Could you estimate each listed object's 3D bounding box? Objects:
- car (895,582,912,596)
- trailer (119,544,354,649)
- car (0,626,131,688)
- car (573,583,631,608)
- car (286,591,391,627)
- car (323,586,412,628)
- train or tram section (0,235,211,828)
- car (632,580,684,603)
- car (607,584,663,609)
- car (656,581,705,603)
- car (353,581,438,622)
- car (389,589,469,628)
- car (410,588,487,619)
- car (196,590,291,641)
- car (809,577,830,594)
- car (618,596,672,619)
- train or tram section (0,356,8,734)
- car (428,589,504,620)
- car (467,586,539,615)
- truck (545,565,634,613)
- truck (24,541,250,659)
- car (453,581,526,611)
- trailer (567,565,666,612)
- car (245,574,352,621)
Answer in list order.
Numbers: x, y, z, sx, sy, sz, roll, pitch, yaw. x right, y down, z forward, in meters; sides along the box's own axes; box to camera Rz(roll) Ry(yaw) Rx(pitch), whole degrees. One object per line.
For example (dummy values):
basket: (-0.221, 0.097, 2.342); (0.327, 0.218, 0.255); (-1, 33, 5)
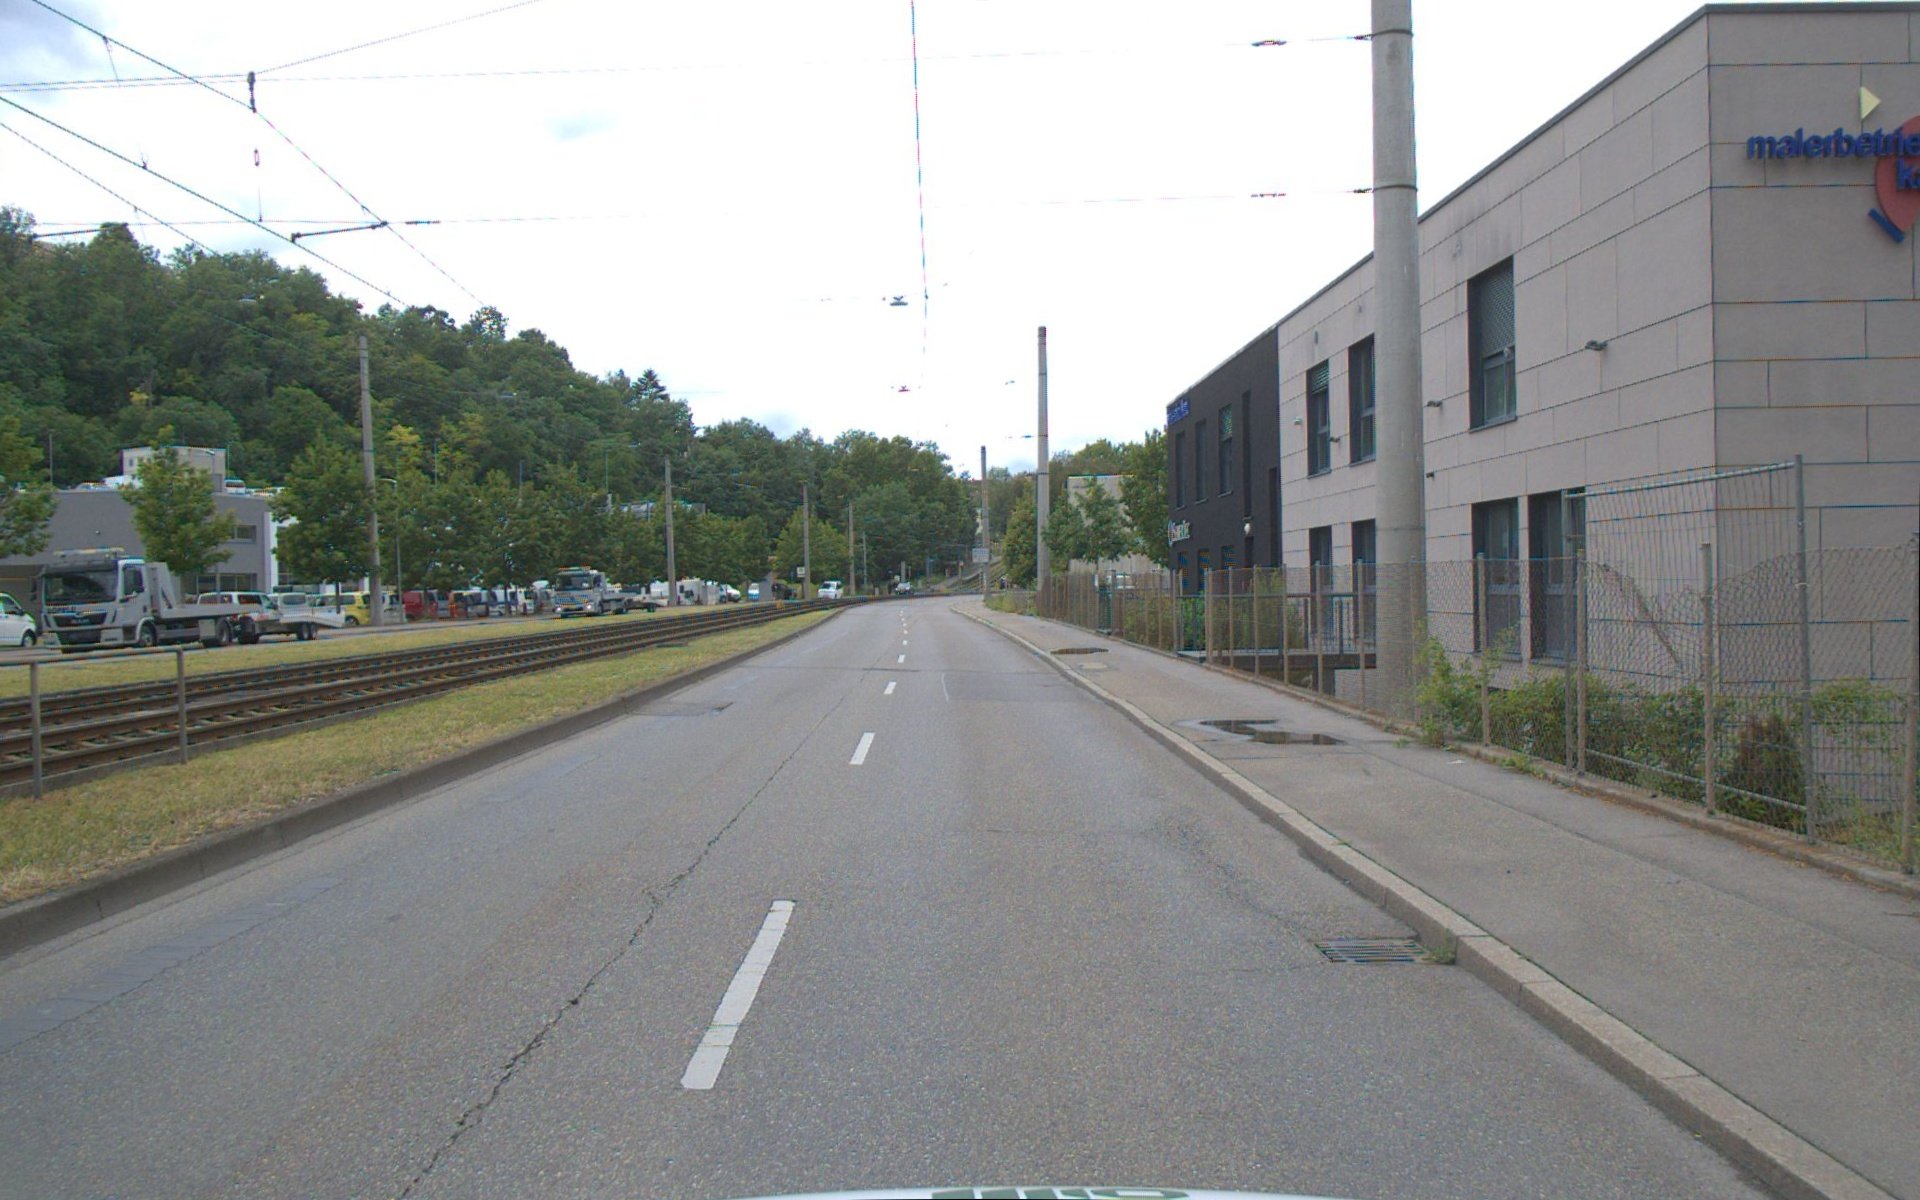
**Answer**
car: (-6.805, -1.341, 200.102); (1.953, 1.668, 3.999); (-1, 1, -1)
trailer: (-23.010, -0.163, 53.463); (2.833, 3.034, 10.791); (-1, 1, 0)
car: (-29.305, 1.892, 54.144); (2.111, 1.910, 4.255); (-1, -3, 1)
car: (-26.972, -0.339, 124.573); (3.903, 1.736, 1.834); (-1, -3, 5)
car: (-31.173, 0.473, 83.008); (4.500, 1.602, 2.000); (-1, -3, 1)
car: (-30.802, 0.376, 86.061); (3.904, 2.049, 2.000); (-1, -3, 1)
train or tram section: (-8.115, -0.419, 9.620); (2.911, 4.136, 10.196); (-1, 1, -1)
car: (-25.293, -0.685, 138.649); (3.903, 1.736, 1.834); (-1, -3, 5)
car: (-25.213, -0.238, 128.277); (3.903, 1.736, 1.834); (-1, -3, 5)
car: (-24.757, -0.701, 146.354); (3.903, 1.736, 1.834); (-1, -3, 5)
car: (-30.420, 0.100, 89.199); (3.904, 2.049, 2.000); (-1, -3, 1)
car: (-30.242, 0.501, 94.242); (3.904, 2.049, 2.000); (-1, -3, 1)
car: (-29.892, 0.198, 96.722); (3.902, 1.736, 1.835); (-1, 0, 5)
car: (-30.470, 0.703, 70.483); (1.952, 1.932, 4.610); (-1, -3, 1)
car: (-15.006, -1.557, 177.039); (1.953, 1.668, 3.999); (-1, 1, -1)
car: (-25.440, 0.613, 133.583); (3.903, 1.735, 1.835); (-1, 1, 5)
train or tram section: (-10.756, -0.531, 12.362); (1.953, 3.862, 9.178); (-1, 0, 0)
car: (-29.504, 0.260, 98.926); (3.903, 1.735, 1.835); (-1, 1, 5)
car: (-28.765, 0.029, 104.180); (3.903, 1.735, 1.835); (-1, 1, 5)
truck: (-21.082, -0.644, 94.466); (2.822, 2.634, 6.916); (-1, 1, 6)
truck: (-23.005, -0.050, 46.727); (2.824, 3.042, 6.912); (-1, 1, 1)
car: (-28.894, -0.226, 101.674); (3.903, 1.735, 1.835); (-1, 0, 5)
trailer: (-20.541, -0.734, 99.513); (2.831, 2.628, 10.002); (-1, 1, 6)
car: (-30.923, -0.095, 77.329); (4.500, 1.932, 2.000); (-2, -3, 21)
